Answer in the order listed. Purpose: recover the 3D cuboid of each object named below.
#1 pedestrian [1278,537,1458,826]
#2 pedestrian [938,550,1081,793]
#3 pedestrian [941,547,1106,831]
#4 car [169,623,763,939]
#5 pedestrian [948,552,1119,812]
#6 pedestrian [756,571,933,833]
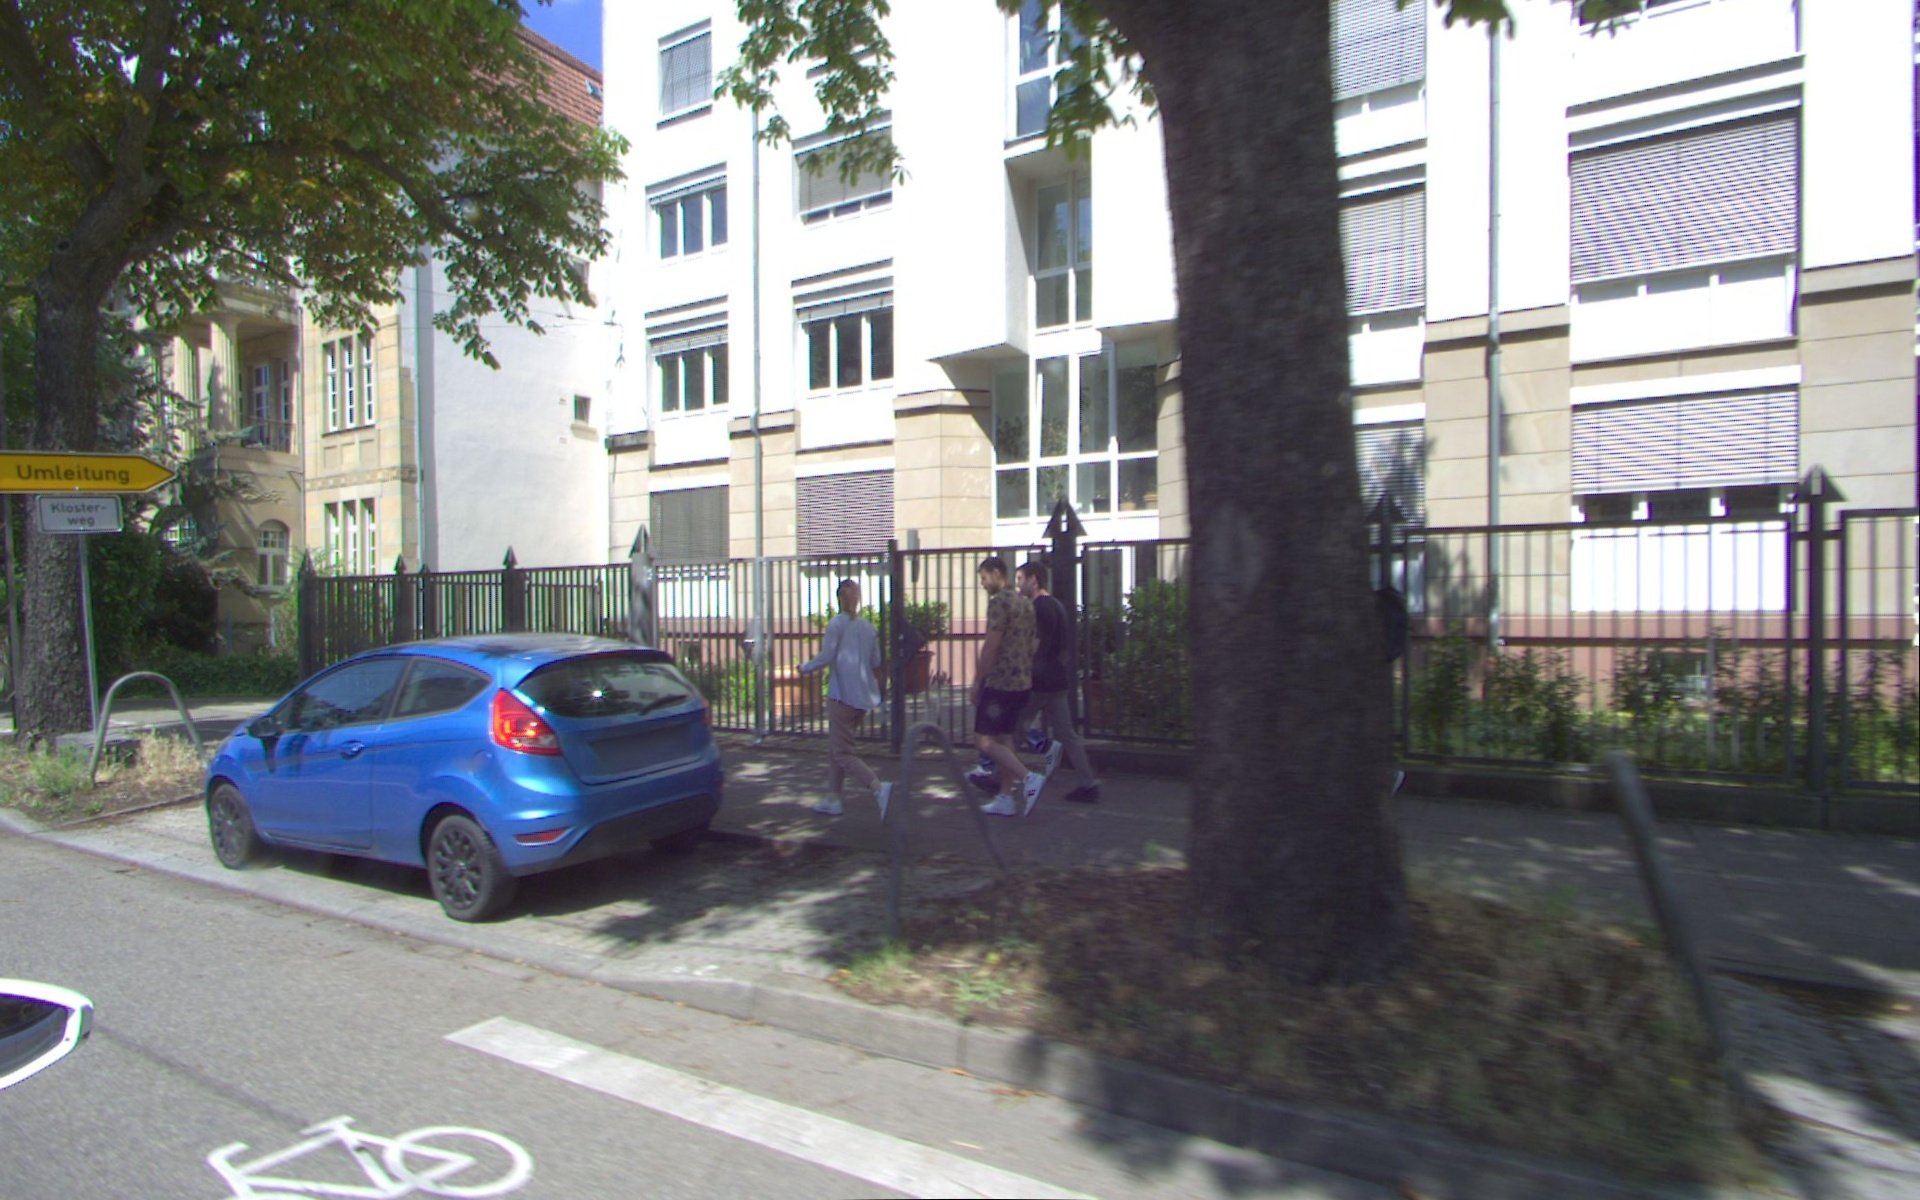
[{"bbox_3d":[2.810,0.523,6.885,1.068,1.821,0.683,0,0,30],"label":"pedestrian"},{"bbox_3d":[0.403,0.550,8.119,0.962,1.835,0.660,0,0,30],"label":"pedestrian"},{"bbox_3d":[0.446,0.573,6.861,0.932,1.800,0.704,0,0,26],"label":"pedestrian"},{"bbox_3d":[-3.270,0.926,6.539,3.664,1.463,1.674,-1,2,30],"label":"car"},{"bbox_3d":[0.555,0.571,7.477,1.036,1.785,0.786,0,0,30],"label":"pedestrian"},{"bbox_3d":[-0.797,0.662,6.981,0.960,1.673,0.765,0,0,33],"label":"pedestrian"}]
